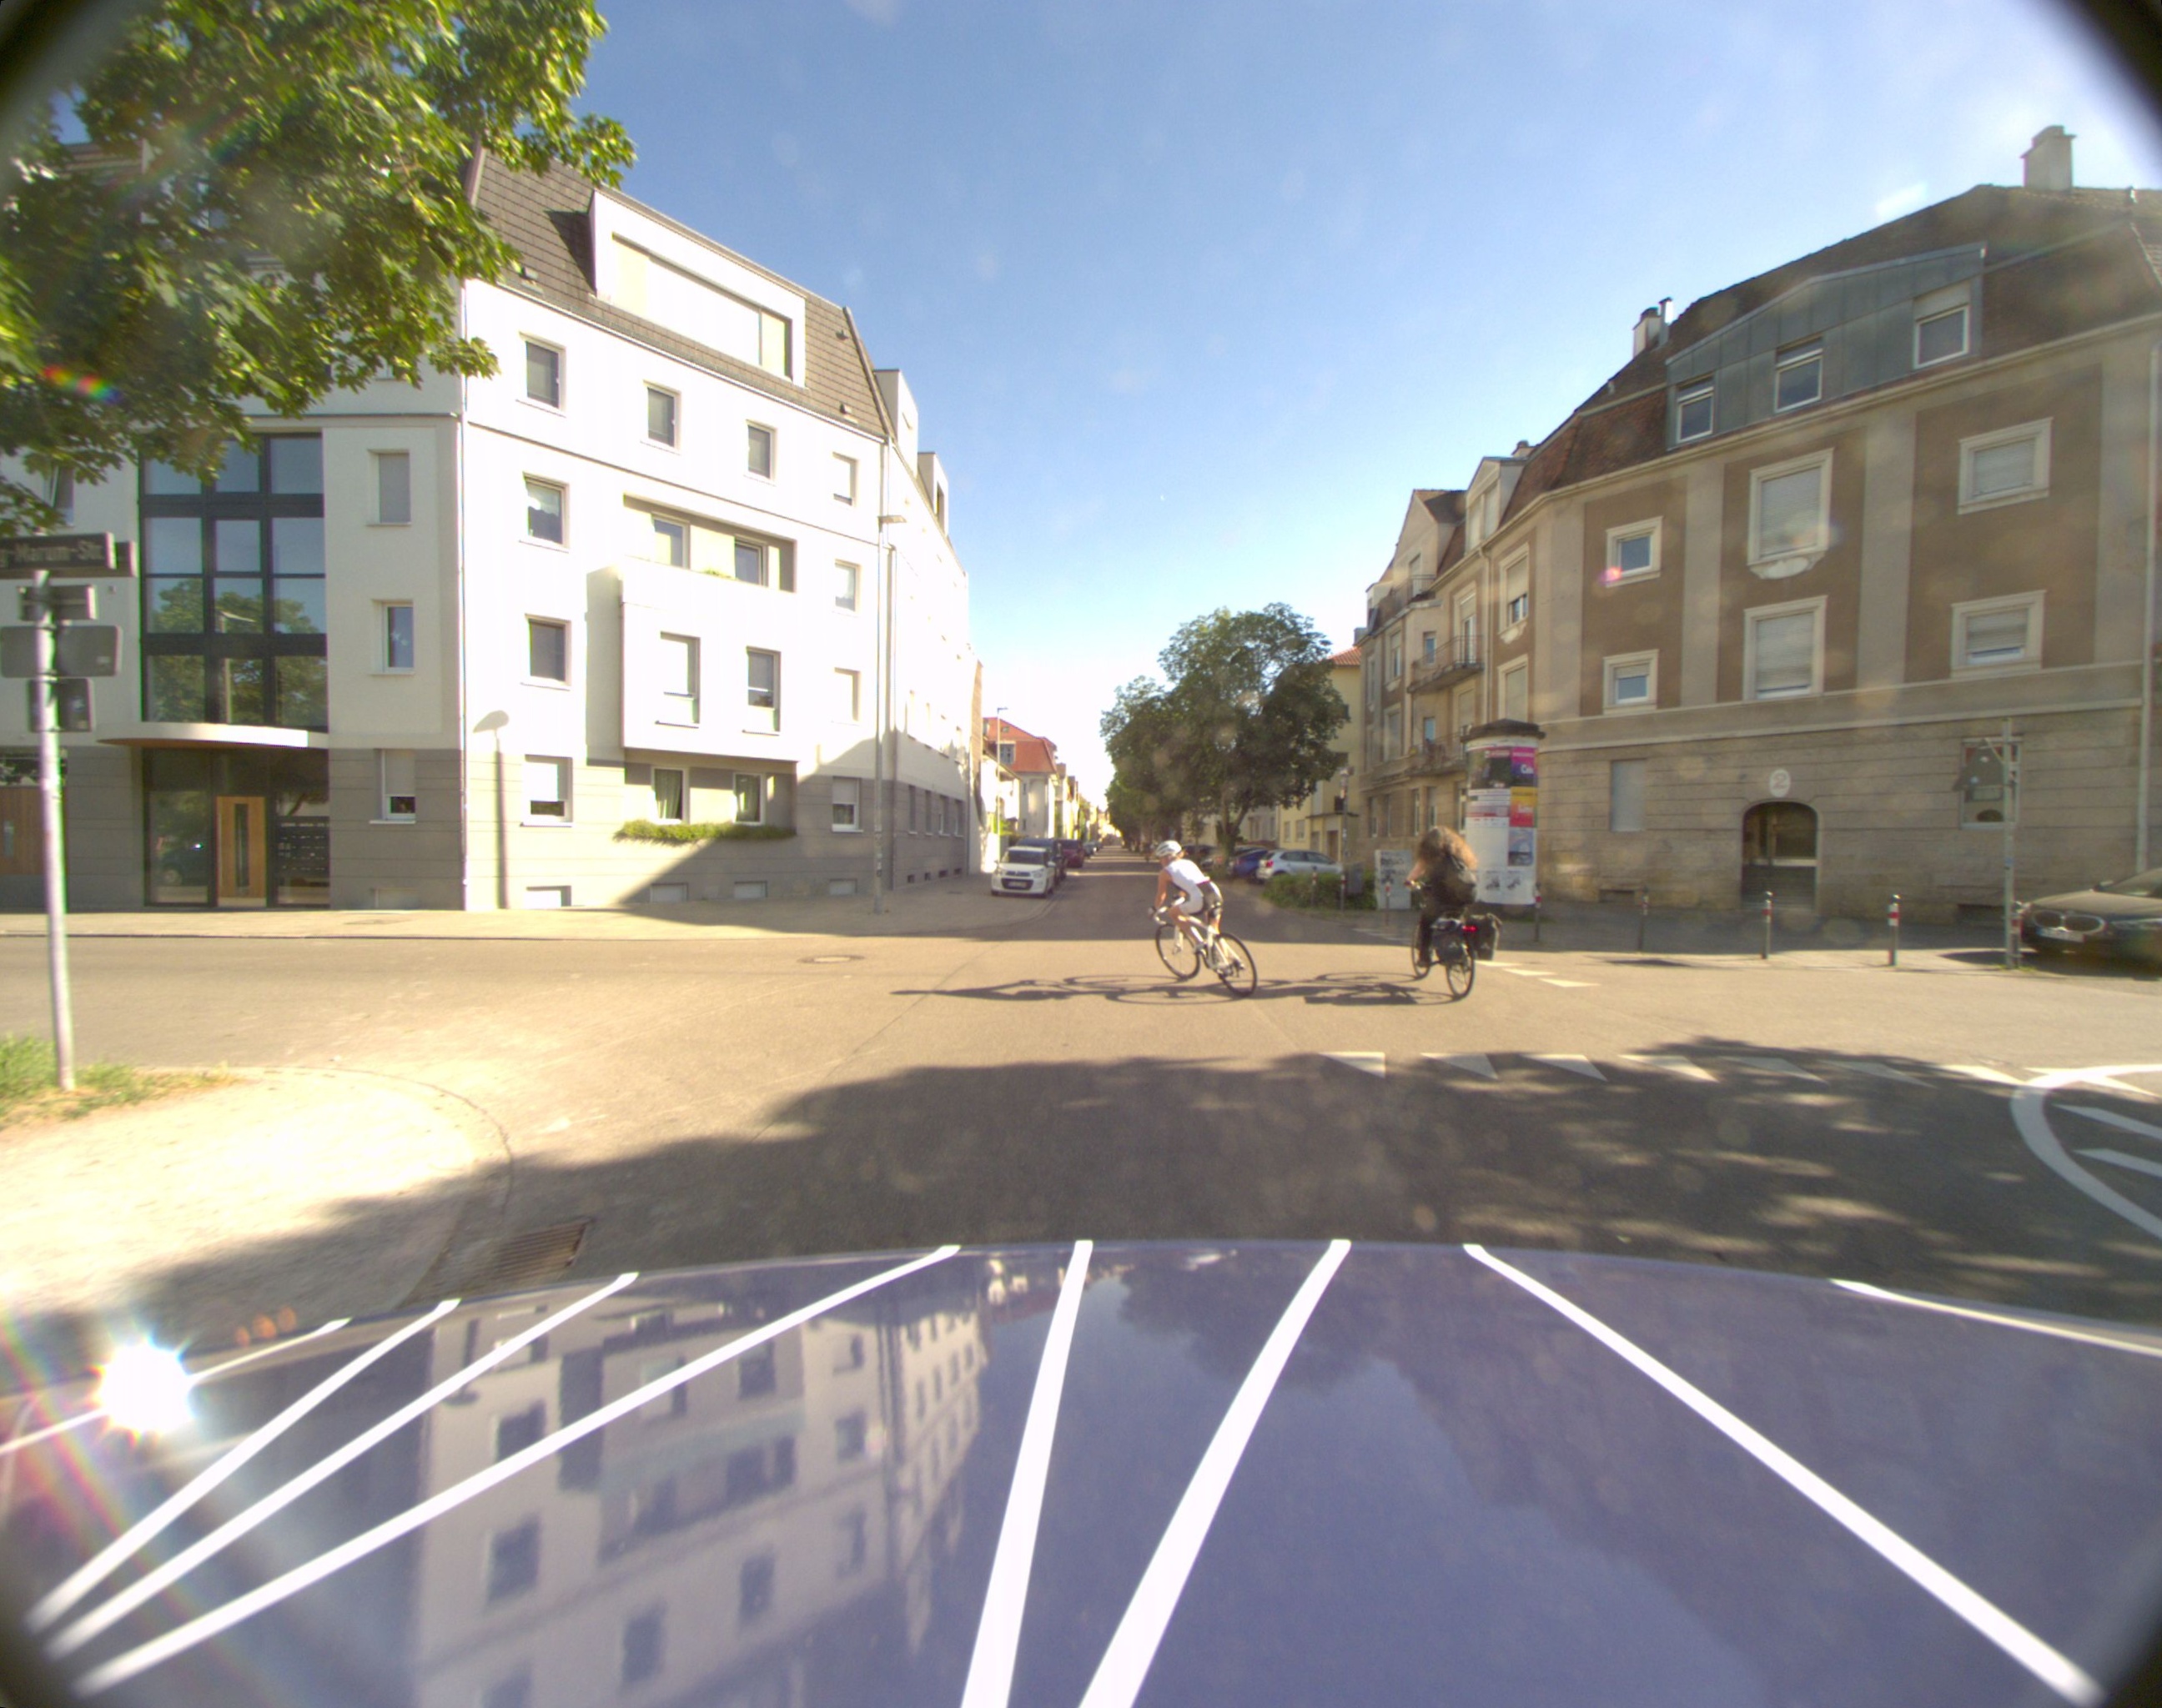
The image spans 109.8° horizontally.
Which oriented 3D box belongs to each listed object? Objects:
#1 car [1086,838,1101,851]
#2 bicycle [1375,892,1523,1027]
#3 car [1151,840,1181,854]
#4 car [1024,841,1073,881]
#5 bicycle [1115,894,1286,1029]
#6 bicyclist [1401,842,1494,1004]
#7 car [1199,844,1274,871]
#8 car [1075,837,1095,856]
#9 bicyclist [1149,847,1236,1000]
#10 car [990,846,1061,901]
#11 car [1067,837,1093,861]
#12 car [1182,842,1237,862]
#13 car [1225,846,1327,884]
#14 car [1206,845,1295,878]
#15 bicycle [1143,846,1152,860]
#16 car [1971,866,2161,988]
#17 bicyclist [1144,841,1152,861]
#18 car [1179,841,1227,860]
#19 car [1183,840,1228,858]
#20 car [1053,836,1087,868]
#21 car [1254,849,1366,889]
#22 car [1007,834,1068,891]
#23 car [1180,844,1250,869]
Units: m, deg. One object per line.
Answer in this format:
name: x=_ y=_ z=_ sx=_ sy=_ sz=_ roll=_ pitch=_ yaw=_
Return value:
car: x=1.794 y=-1.252 z=105.530 sx=1.884 sy=1.734 sz=4.402 roll=1 pitch=1 yaw=3
bicycle: x=3.789 y=1.019 z=8.031 sx=0.644 sy=1.102 sz=2.065 roll=1 pitch=1 yaw=3
car: x=10.535 y=-0.887 z=93.892 sx=3.528 sy=1.693 sz=1.692 roll=0 pitch=1 yaw=0
car: x=-1.354 y=0.265 z=33.226 sx=1.664 sy=1.533 sz=4.066 roll=4 pitch=1 yaw=3
bicycle: x=1.153 y=1.017 z=7.662 sx=0.508 sy=1.083 sz=1.703 roll=-1 pitch=3 yaw=-45
bicyclist: x=3.783 y=0.683 z=7.889 sx=0.644 sy=1.610 sz=0.637 roll=1 pitch=1 yaw=3
car: x=8.723 y=0.180 z=42.681 sx=3.792 sy=1.486 sz=1.690 roll=-1 pitch=1 yaw=-11
car: x=0.477 y=-0.785 z=79.050 sx=1.884 sy=1.860 sz=4.402 roll=1 pitch=1 yaw=3
bicyclist: x=1.125 y=0.666 z=7.681 sx=0.499 sy=1.456 sz=0.685 roll=-1 pitch=2 yaw=-44
car: x=-1.632 y=0.538 z=23.364 sx=1.665 sy=1.440 sz=3.688 roll=4 pitch=1 yaw=2
car: x=-0.022 y=-0.410 z=63.819 sx=1.884 sy=1.861 sz=4.401 roll=4 pitch=1 yaw=3
car: x=9.640 y=-0.160 z=57.161 sx=3.789 sy=1.486 sz=1.691 roll=0 pitch=1 yaw=-3
car: x=7.955 y=0.441 z=31.217 sx=3.788 sy=1.486 sz=1.692 roll=0 pitch=1 yaw=0
car: x=8.120 y=0.343 z=36.502 sx=3.792 sy=1.486 sz=1.690 roll=-1 pitch=1 yaw=-11
bicycle: x=5.335 y=-0.095 z=60.666 sx=0.644 sy=1.102 sz=2.065 roll=1 pitch=1 yaw=3
car: x=16.147 y=1.019 z=11.092 sx=4.012 sy=1.476 sz=1.866 roll=1 pitch=4 yaw=-1
bicyclist: x=5.332 y=-0.229 z=60.515 sx=0.644 sy=1.557 sz=1.043 roll=1 pitch=1 yaw=3
car: x=9.893 y=-0.301 z=61.675 sx=3.529 sy=1.486 sz=1.691 roll=0 pitch=1 yaw=-3
car: x=10.520 y=-0.403 z=64.423 sx=3.529 sy=1.486 sz=1.691 roll=0 pitch=1 yaw=-3
car: x=-0.675 y=-0.175 z=49.598 sx=1.884 sy=1.861 sz=4.401 roll=4 pitch=1 yaw=3
car: x=8.677 y=0.537 z=29.008 sx=3.788 sy=1.436 sz=1.692 roll=0 pitch=1 yaw=0
car: x=-1.511 y=0.249 z=27.823 sx=1.664 sy=1.825 sz=4.257 roll=4 pitch=1 yaw=3
car: x=8.009 y=0.133 z=45.575 sx=3.792 sy=1.486 sz=1.690 roll=-1 pitch=1 yaw=-11
